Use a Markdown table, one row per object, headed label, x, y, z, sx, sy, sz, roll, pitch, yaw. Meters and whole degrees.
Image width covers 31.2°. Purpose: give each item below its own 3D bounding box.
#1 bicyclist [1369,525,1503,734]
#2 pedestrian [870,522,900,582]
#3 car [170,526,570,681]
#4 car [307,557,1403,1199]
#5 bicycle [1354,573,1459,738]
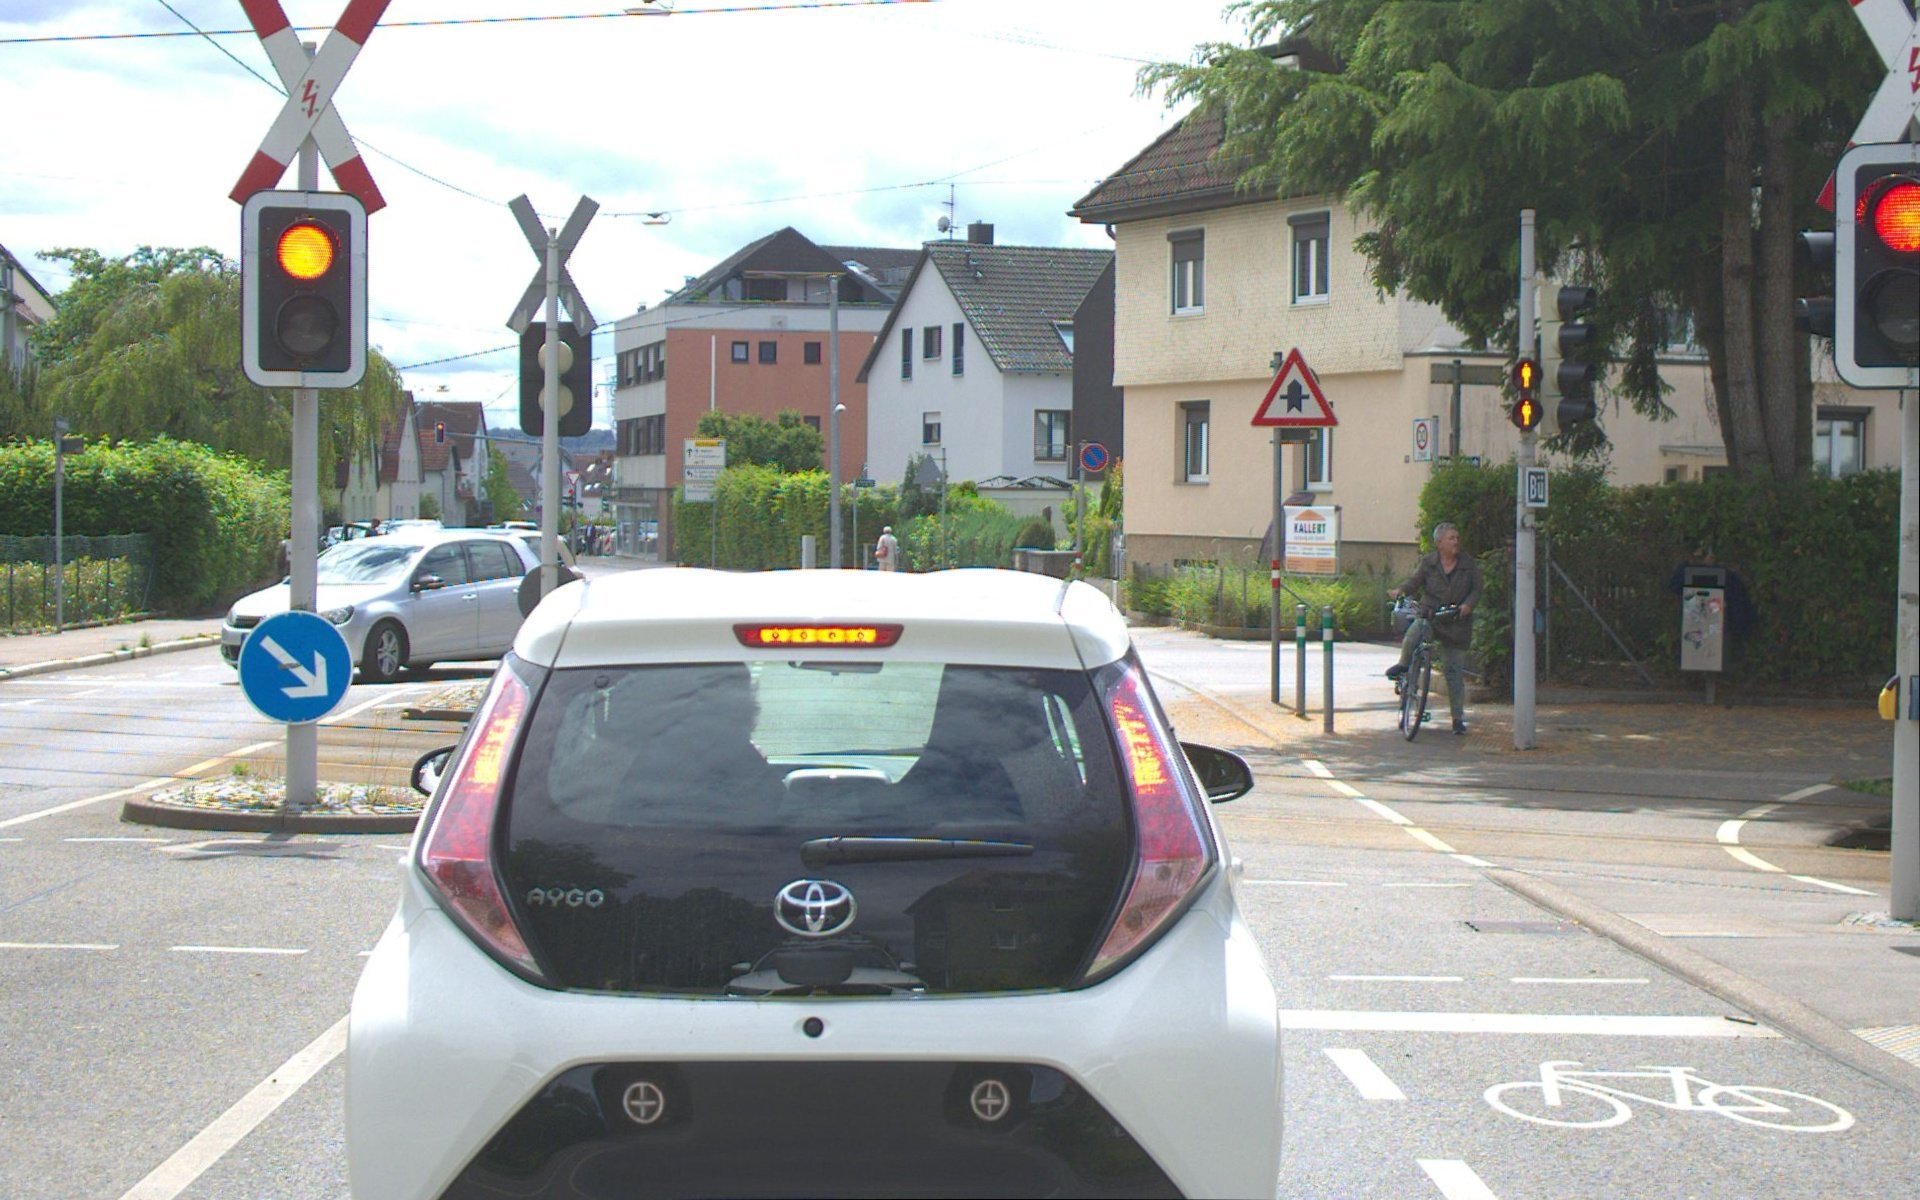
| label | x | y | z | sx | sy | sz | roll | pitch | yaw |
| --- | --- | --- | --- | --- | --- | --- | --- | --- | --- |
| bicyclist | 3.710 | 0.220 | 26.831 | 0.840 | 1.548 | 0.756 | -2 | 3 | -6 |
| pedestrian | -1.986 | -1.267 | 90.932 | 0.726 | 1.571 | 0.803 | 2 | 1 | 0 |
| car | -5.956 | 0.024 | 35.157 | 1.908 | 1.436 | 4.092 | 2 | 1 | 28 |
| car | -0.294 | 0.664 | 7.339 | 1.721 | 1.437 | 3.709 | 2 | 1 | -4 |
| bicycle | 3.497 | 0.416 | 26.997 | 0.457 | 1.168 | 1.480 | -2 | 4 | -6 |
